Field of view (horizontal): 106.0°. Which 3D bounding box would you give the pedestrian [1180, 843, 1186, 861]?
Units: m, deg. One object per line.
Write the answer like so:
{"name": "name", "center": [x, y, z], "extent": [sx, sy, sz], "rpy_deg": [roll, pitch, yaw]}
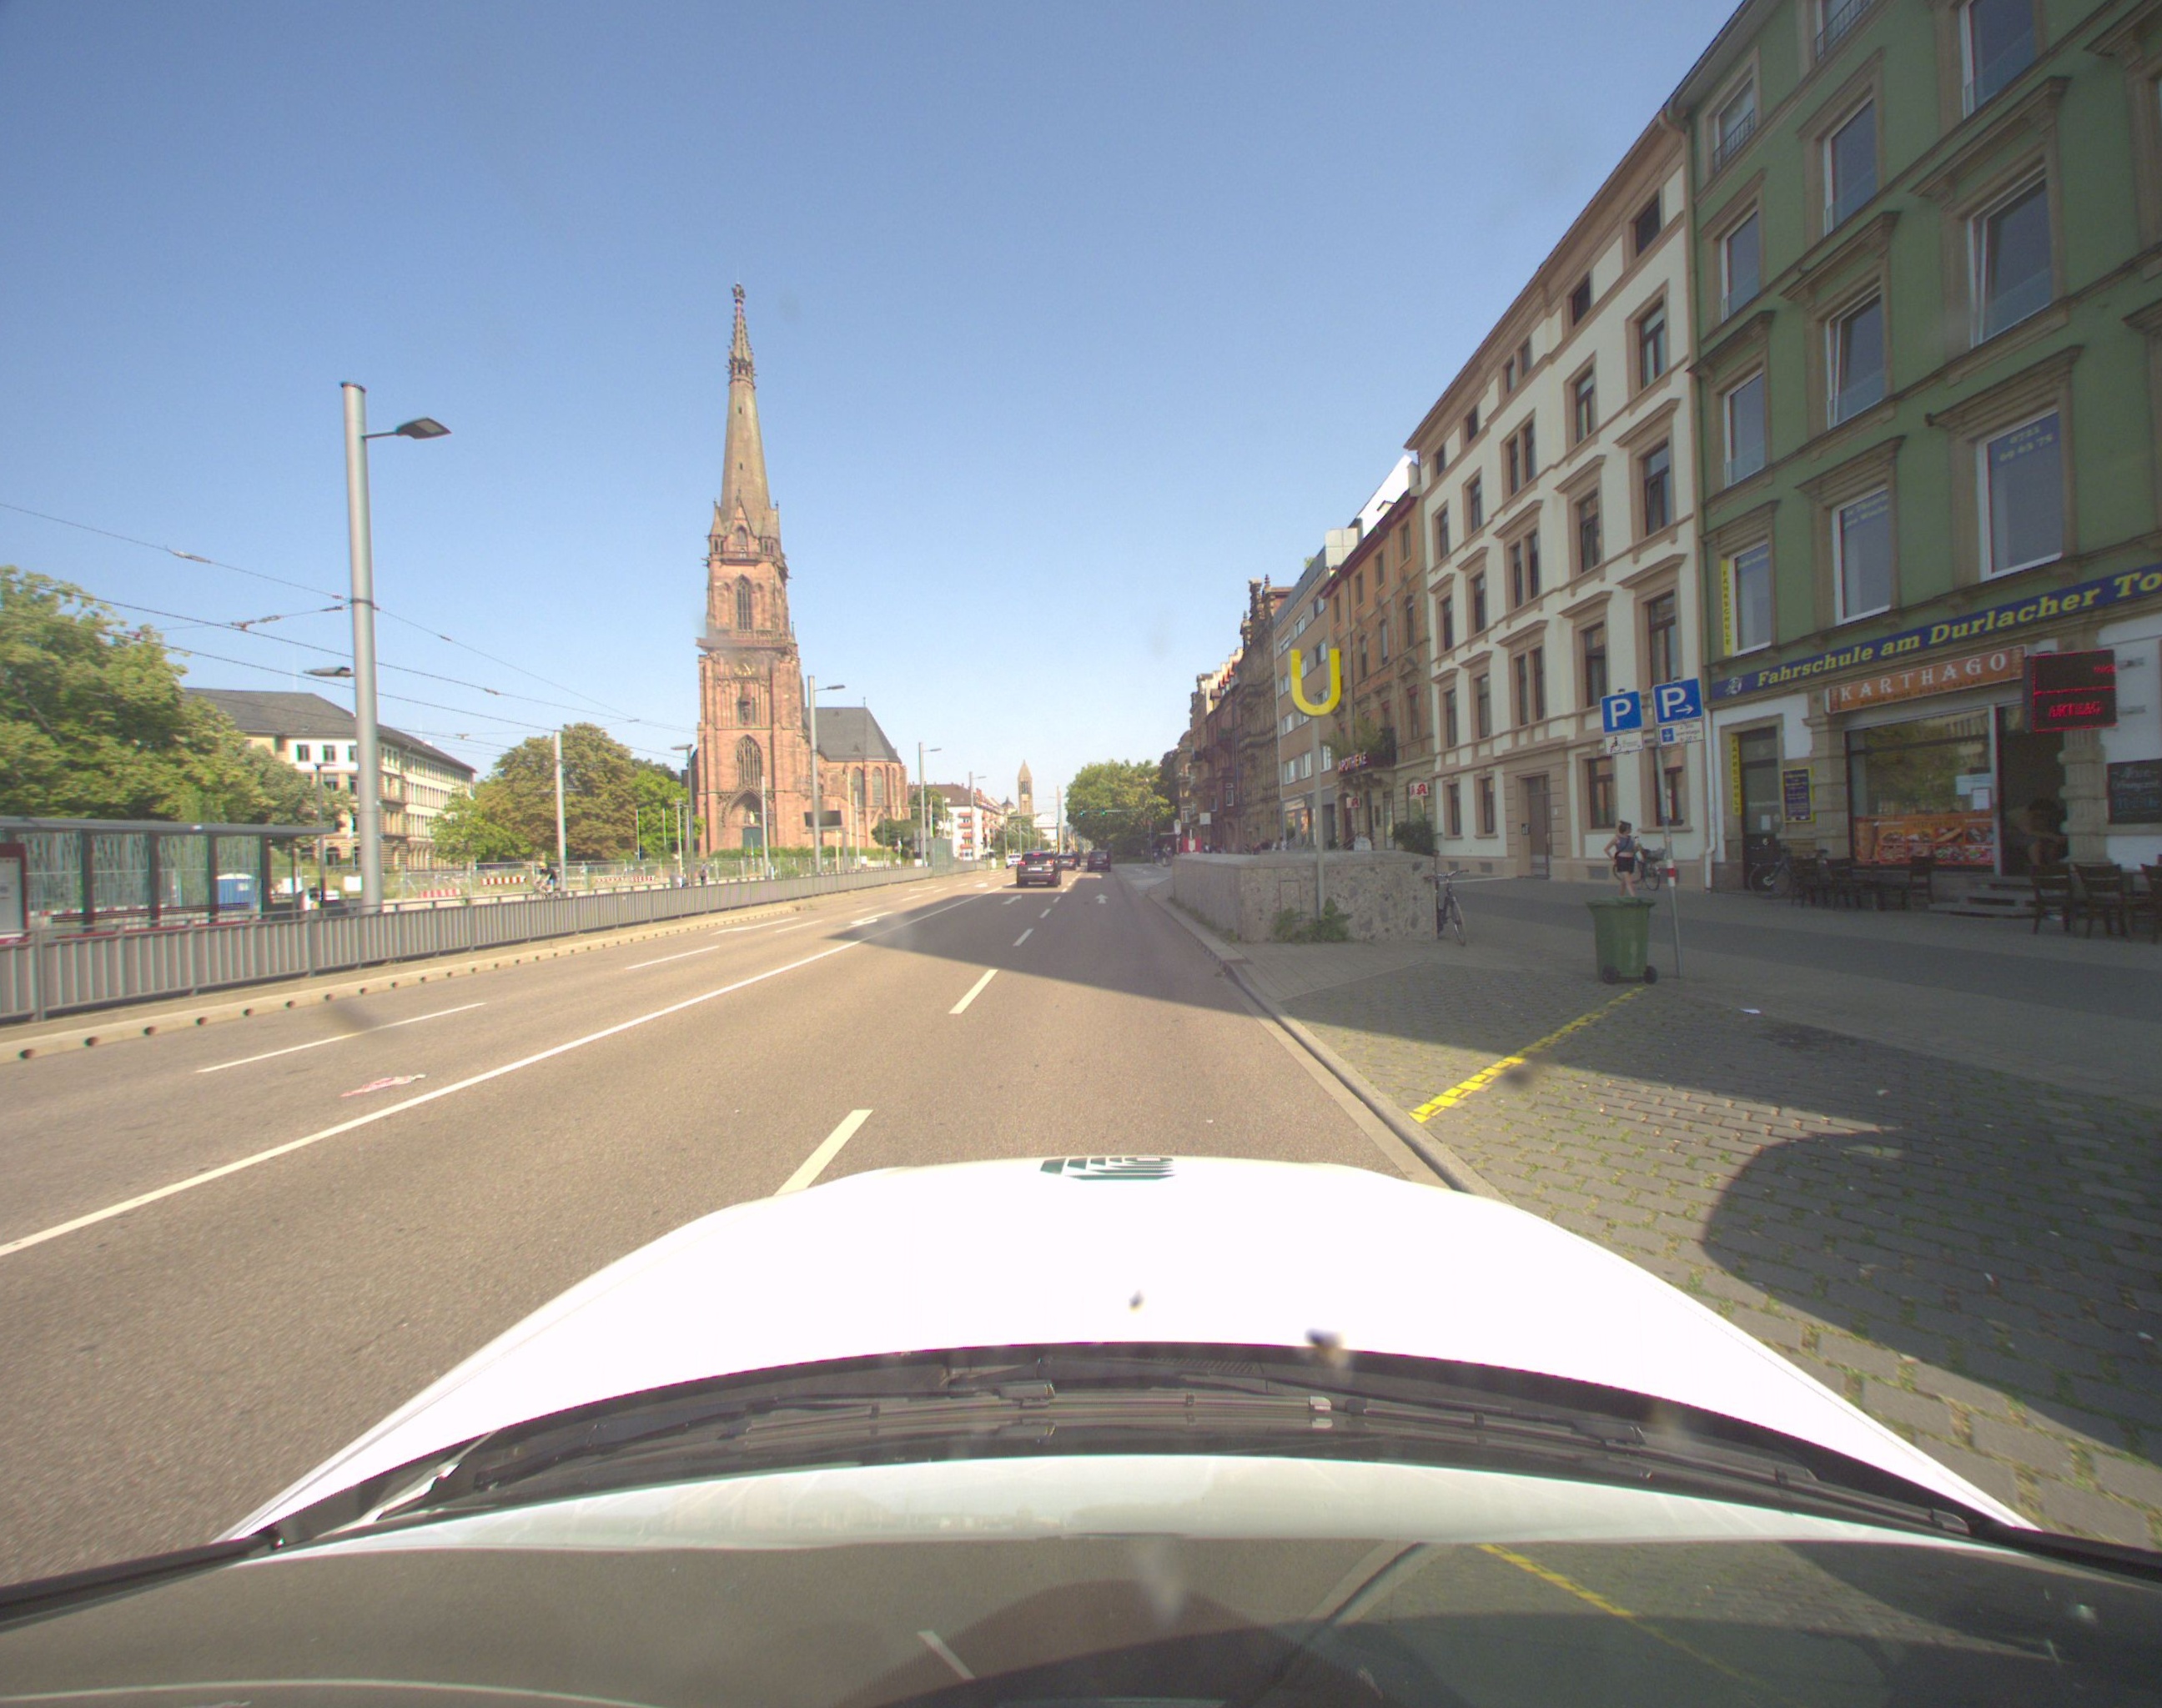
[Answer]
{"name": "pedestrian", "center": [9.598, -0.198, 76.644], "extent": [0.480, 1.702, 0.702], "rpy_deg": [-2, 0, -2]}

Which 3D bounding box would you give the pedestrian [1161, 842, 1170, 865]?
{"name": "pedestrian", "center": [6.532, -0.014, 62.779], "extent": [0.563, 1.729, 0.745], "rpy_deg": [-2, 0, -2]}

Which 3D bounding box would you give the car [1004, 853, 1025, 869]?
{"name": "car", "center": [-7.351, 0.771, 90.059], "extent": [1.707, 1.611, 4.506], "rpy_deg": [-4, 0, 1]}

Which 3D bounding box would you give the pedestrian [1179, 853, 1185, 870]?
{"name": "pedestrian", "center": [7.449, 0.561, 59.883], "extent": [0.275, 1.274, 0.447], "rpy_deg": [-2, 0, -6]}

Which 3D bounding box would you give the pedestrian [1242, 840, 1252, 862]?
{"name": "pedestrian", "center": [13.648, -0.244, 66.848], "extent": [0.627, 1.719, 0.691], "rpy_deg": [-2, 0, 1]}

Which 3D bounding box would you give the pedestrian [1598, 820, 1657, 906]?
{"name": "pedestrian", "center": [10.762, 0.173, 16.060], "extent": [0.606, 1.629, 0.737], "rpy_deg": [-2, 0, 2]}

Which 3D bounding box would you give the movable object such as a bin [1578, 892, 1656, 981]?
{"name": "movable object such as a bin", "center": [5.860, 0.888, 8.926], "extent": [0.487, 0.903, 0.538], "rpy_deg": [-2, 0, 4]}

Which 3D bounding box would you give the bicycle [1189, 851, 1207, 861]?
{"name": "bicycle", "center": [13.927, 0.241, 96.976], "extent": [1.924, 1.048, 0.499], "rpy_deg": [-2, 0, -5]}

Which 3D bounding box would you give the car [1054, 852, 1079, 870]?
{"name": "car", "center": [-1.225, 0.611, 70.251], "extent": [1.857, 1.424, 4.359], "rpy_deg": [-1, 0, 2]}

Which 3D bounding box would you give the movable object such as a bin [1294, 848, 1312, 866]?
{"name": "movable object such as a bin", "center": [13.090, 0.175, 48.035], "extent": [0.738, 1.080, 0.666], "rpy_deg": [-2, 0, -16]}

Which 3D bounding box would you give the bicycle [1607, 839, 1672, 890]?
{"name": "bicycle", "center": [13.151, 0.226, 19.228], "extent": [0.382, 1.134, 1.720], "rpy_deg": [-2, 0, 2]}

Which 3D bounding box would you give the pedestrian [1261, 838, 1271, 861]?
{"name": "pedestrian", "center": [14.017, -0.346, 61.749], "extent": [0.602, 1.691, 0.586], "rpy_deg": [-2, 0, -2]}

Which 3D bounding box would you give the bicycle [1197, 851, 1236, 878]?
{"name": "bicycle", "center": [6.018, 0.468, 36.321], "extent": [1.626, 1.148, 0.602], "rpy_deg": [-3, 0, 3]}

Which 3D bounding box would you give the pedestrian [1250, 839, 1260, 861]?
{"name": "pedestrian", "center": [13.620, -0.302, 63.779], "extent": [0.602, 1.654, 0.586], "rpy_deg": [-2, 0, -2]}

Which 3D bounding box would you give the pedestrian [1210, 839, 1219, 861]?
{"name": "pedestrian", "center": [11.301, -0.344, 68.903], "extent": [0.614, 1.804, 1.072], "rpy_deg": [-2, 0, 2]}

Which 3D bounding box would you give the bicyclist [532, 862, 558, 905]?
{"name": "bicyclist", "center": [-22.739, 1.237, 34.551], "extent": [0.485, 1.747, 0.819], "rpy_deg": [-2, 0, 2]}

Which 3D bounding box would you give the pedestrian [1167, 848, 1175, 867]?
{"name": "pedestrian", "center": [7.787, 0.268, 70.100], "extent": [0.526, 1.612, 0.702], "rpy_deg": [-2, 0, -2]}

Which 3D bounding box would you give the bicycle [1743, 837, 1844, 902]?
{"name": "bicycle", "center": [13.288, 0.272, 15.245], "extent": [0.382, 1.134, 1.720], "rpy_deg": [-2, 0, 2]}

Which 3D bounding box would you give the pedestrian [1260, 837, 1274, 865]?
{"name": "pedestrian", "center": [12.397, -0.202, 54.227], "extent": [0.717, 1.787, 0.856], "rpy_deg": [-2, 0, 2]}

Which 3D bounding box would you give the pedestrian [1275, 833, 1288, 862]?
{"name": "pedestrian", "center": [13.334, -0.430, 54.075], "extent": [0.602, 1.831, 0.742], "rpy_deg": [-2, 0, -2]}

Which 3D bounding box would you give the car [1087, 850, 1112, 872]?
{"name": "car", "center": [1.480, 0.555, 64.156], "extent": [1.825, 1.621, 4.359], "rpy_deg": [-1, 0, 2]}

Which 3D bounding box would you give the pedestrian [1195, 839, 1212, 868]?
{"name": "pedestrian", "center": [7.877, -0.057, 52.393], "extent": [0.923, 1.831, 0.800], "rpy_deg": [-2, 0, -2]}

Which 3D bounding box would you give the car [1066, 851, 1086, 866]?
{"name": "car", "center": [-0.496, 0.459, 86.163], "extent": [1.857, 1.424, 4.359], "rpy_deg": [-1, 0, 2]}

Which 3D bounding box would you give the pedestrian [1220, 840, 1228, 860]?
{"name": "pedestrian", "center": [12.109, -0.353, 68.889], "extent": [0.484, 1.610, 0.813], "rpy_deg": [-2, 0, 2]}

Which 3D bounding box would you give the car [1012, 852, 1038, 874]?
{"name": "car", "center": [-5.326, 0.805, 78.427], "extent": [1.986, 1.904, 4.717], "rpy_deg": [-4, 0, 1]}

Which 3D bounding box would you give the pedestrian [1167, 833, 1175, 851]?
{"name": "pedestrian", "center": [8.546, -1.135, 77.299], "extent": [0.688, 1.664, 0.620], "rpy_deg": [-2, 0, 1]}

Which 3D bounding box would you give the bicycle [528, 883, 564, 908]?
{"name": "bicycle", "center": [-22.803, 1.745, 34.728], "extent": [0.349, 0.954, 1.696], "rpy_deg": [-2, 0, 2]}

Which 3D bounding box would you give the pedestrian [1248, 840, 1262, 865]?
{"name": "pedestrian", "center": [11.601, -0.120, 54.356], "extent": [0.717, 1.610, 0.856], "rpy_deg": [-2, 0, 2]}

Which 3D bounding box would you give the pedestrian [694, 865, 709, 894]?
{"name": "pedestrian", "center": [-23.126, 1.544, 49.611], "extent": [0.515, 1.700, 0.664], "rpy_deg": [-2, 0, 0]}

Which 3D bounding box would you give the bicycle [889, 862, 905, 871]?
{"name": "bicycle", "center": [-20.917, 1.401, 92.639], "extent": [1.747, 0.978, 0.481], "rpy_deg": [-2, 0, 10]}

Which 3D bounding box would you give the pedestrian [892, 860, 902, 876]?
{"name": "pedestrian", "center": [-20.911, 1.594, 92.643], "extent": [0.911, 1.679, 0.604], "rpy_deg": [-2, 0, 10]}

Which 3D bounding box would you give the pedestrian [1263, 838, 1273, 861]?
{"name": "pedestrian", "center": [14.014, -0.338, 61.021], "extent": [0.602, 1.691, 0.586], "rpy_deg": [-2, 0, -2]}

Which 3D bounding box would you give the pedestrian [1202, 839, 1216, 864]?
{"name": "pedestrian", "center": [8.917, -0.183, 56.694], "extent": [0.747, 1.729, 0.800], "rpy_deg": [-2, 0, -2]}

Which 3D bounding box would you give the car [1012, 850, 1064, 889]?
{"name": "car", "center": [-1.876, 0.647, 37.140], "extent": [1.986, 1.621, 4.359], "rpy_deg": [-1, 0, 2]}

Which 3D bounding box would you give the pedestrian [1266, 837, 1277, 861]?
{"name": "pedestrian", "center": [14.042, -0.368, 59.926], "extent": [0.602, 1.731, 0.510], "rpy_deg": [-2, 0, -2]}

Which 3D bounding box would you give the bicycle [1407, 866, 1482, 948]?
{"name": "bicycle", "center": [5.661, 0.784, 12.767], "extent": [0.382, 1.134, 1.791], "rpy_deg": [-2, 0, 2]}
